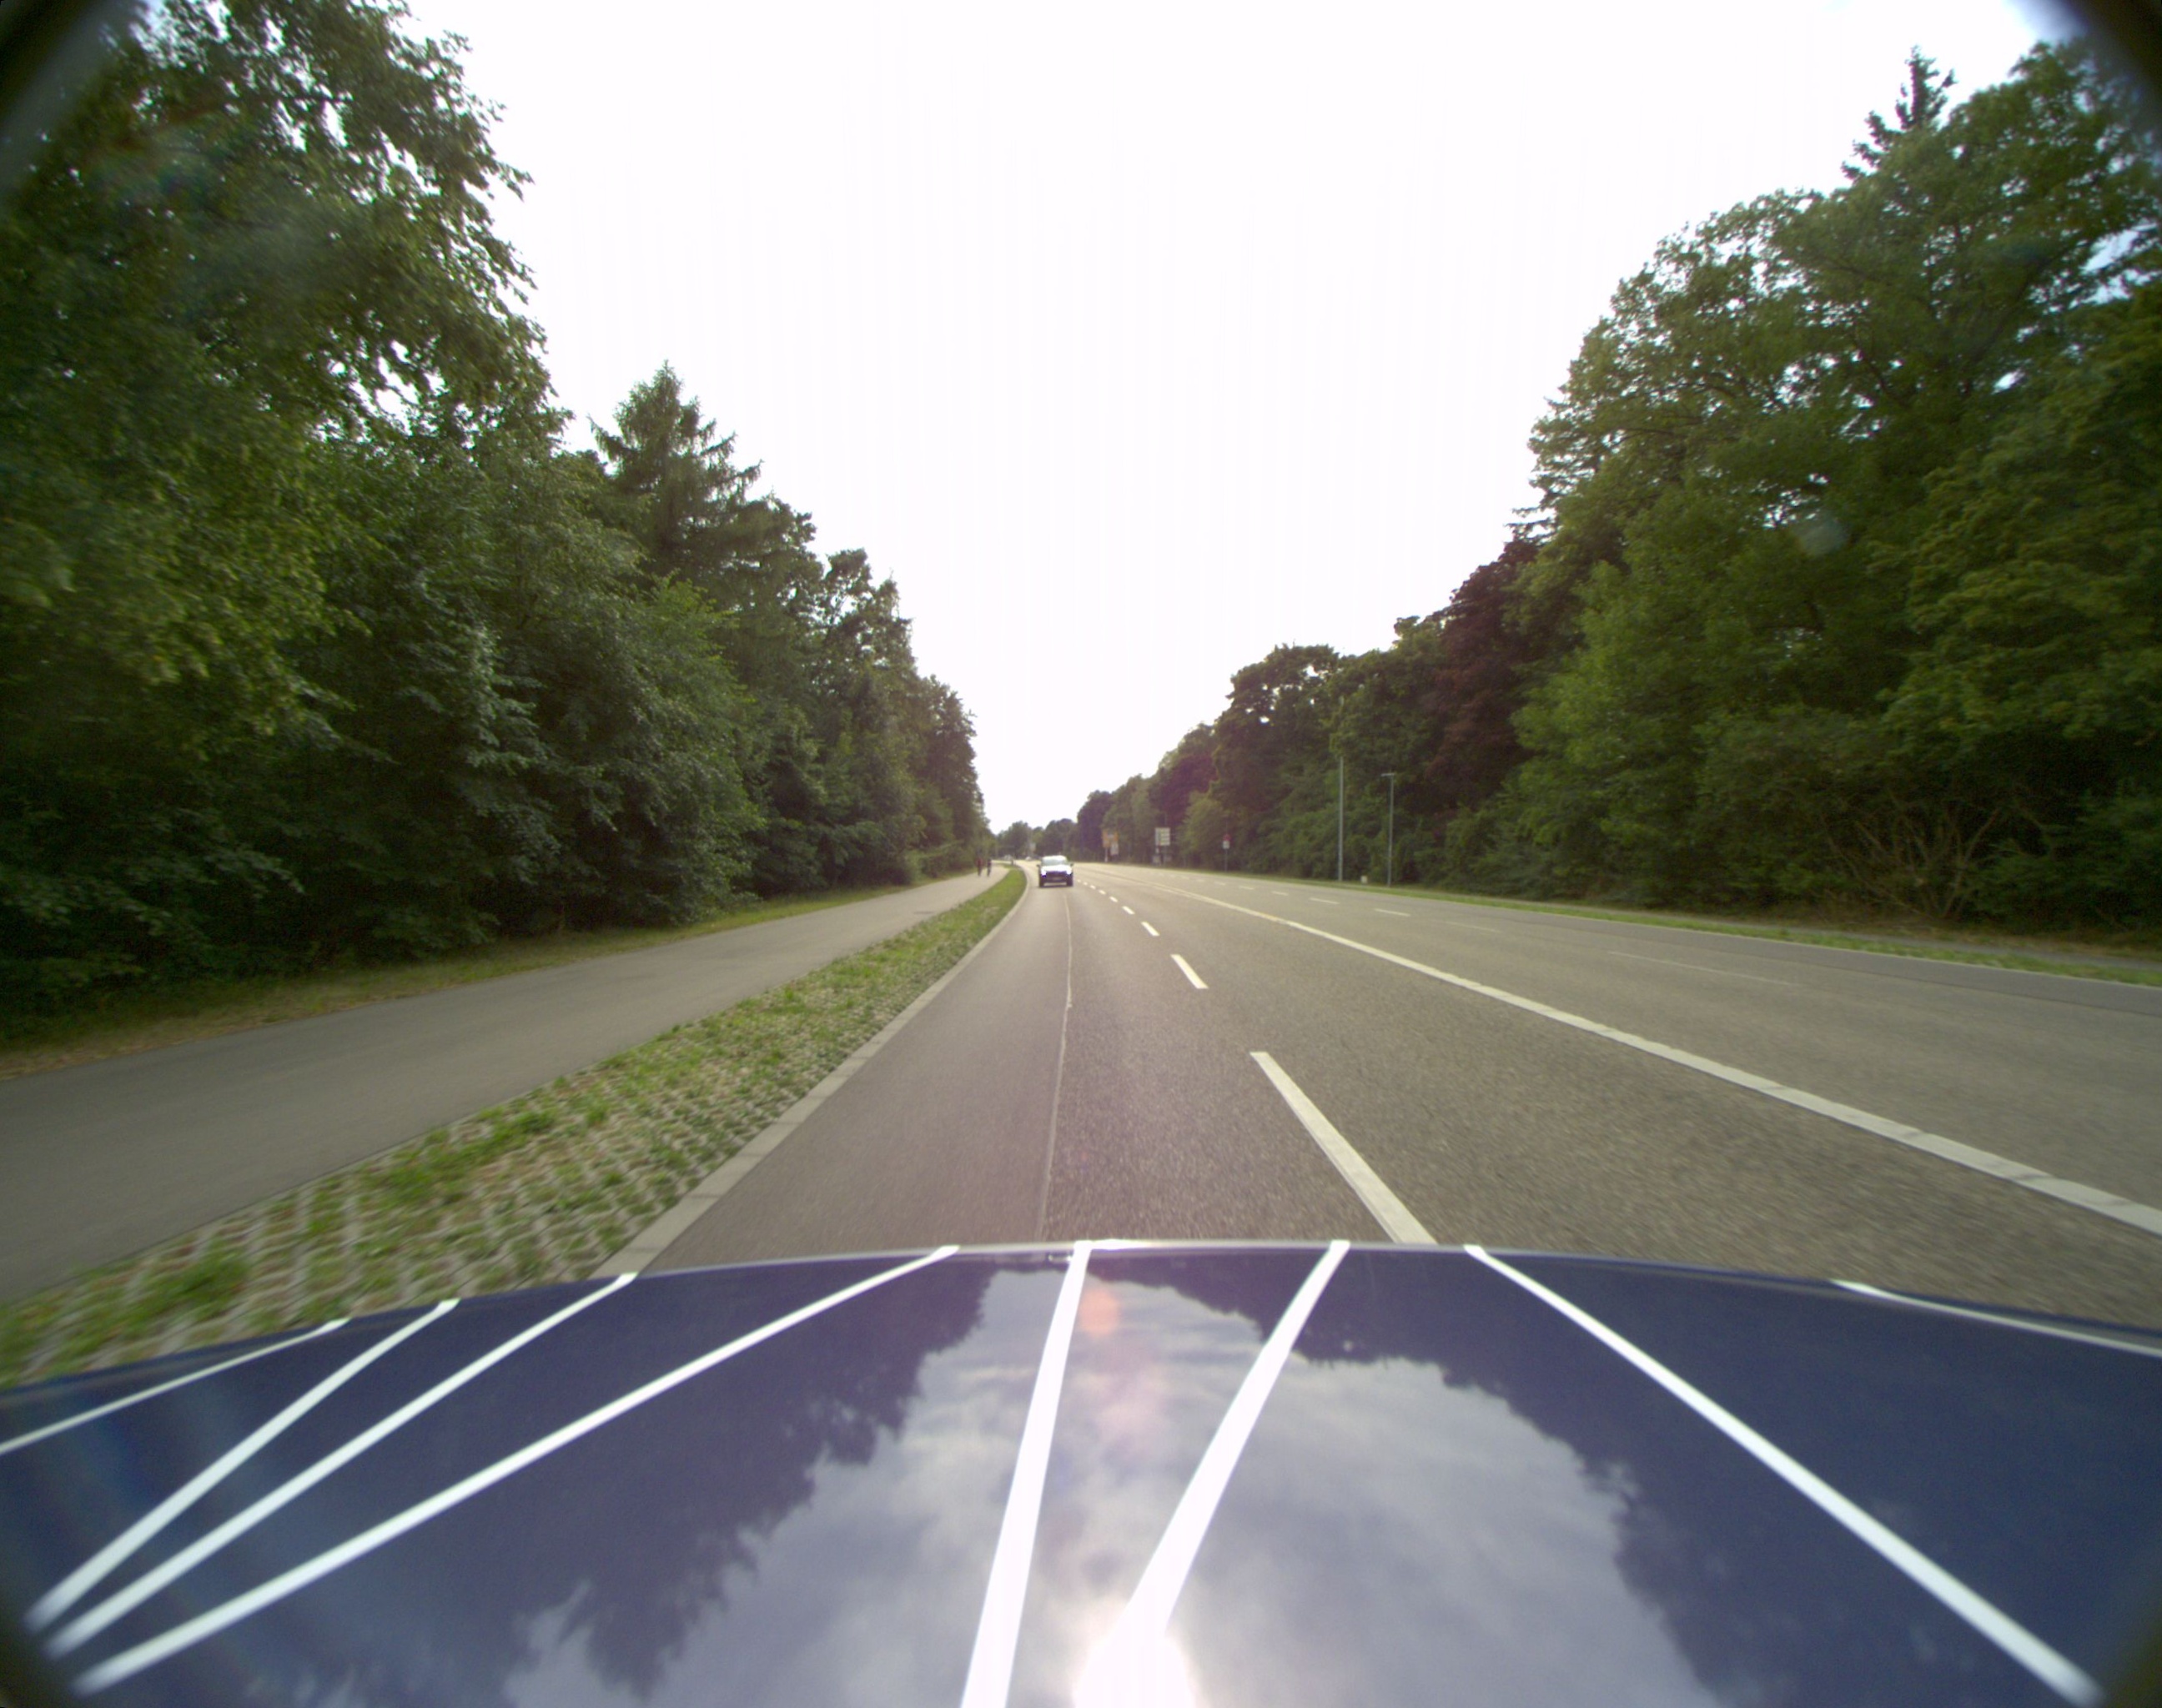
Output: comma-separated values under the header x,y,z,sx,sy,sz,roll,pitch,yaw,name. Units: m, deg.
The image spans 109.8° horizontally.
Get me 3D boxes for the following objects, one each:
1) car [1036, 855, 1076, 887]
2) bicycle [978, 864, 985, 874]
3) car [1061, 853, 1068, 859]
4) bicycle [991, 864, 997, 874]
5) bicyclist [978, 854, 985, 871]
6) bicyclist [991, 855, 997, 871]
x,y,z,sx,sy,sz,roll,pitch,yaw,name
-1.451,0.894,42.579,1.999,1.565,3.998,-3,1,-4,car
-8.828,1.323,67.666,0.567,0.906,1.886,2,-1,-6,bicycle
-5.028,0.625,233.085,1.746,1.467,3.997,-3,1,-7,car
-7.764,1.335,67.798,0.567,0.906,1.753,1,1,-6,bicycle
-8.836,0.755,67.614,0.521,1.407,1.185,-2,1,-6,bicyclist
-7.779,0.815,67.776,0.521,1.407,1.185,-1,1,-6,bicyclist
